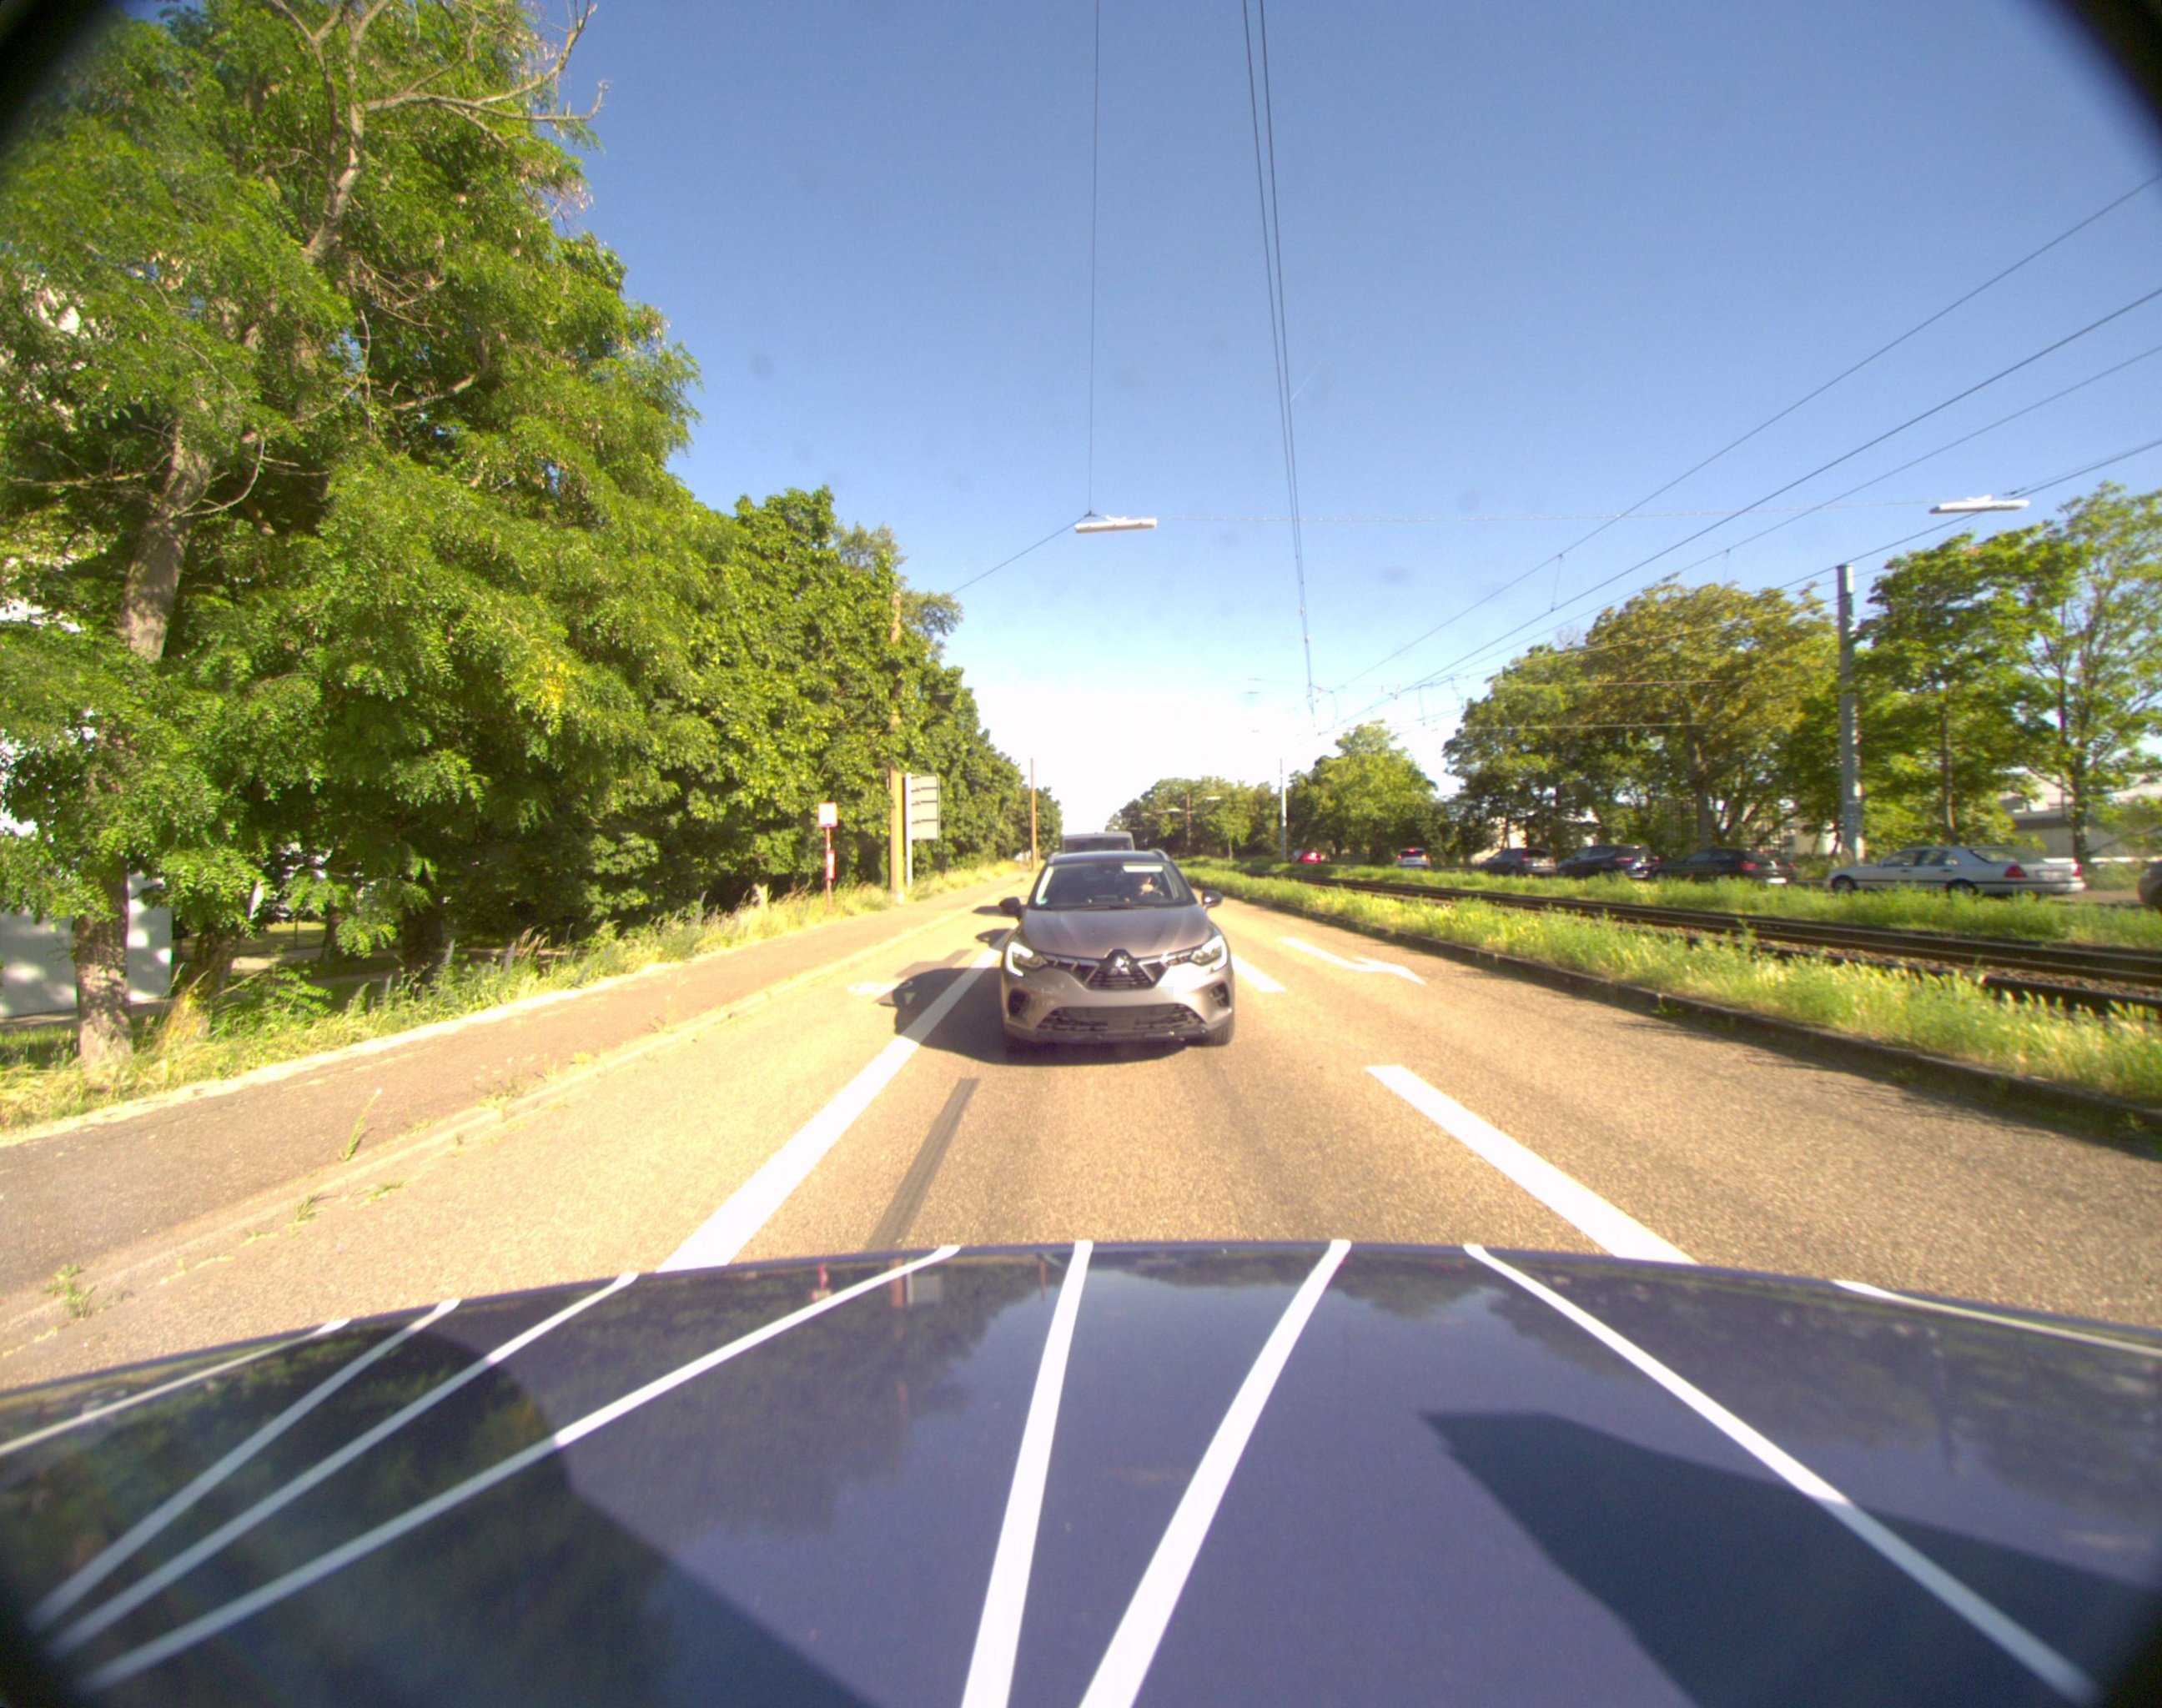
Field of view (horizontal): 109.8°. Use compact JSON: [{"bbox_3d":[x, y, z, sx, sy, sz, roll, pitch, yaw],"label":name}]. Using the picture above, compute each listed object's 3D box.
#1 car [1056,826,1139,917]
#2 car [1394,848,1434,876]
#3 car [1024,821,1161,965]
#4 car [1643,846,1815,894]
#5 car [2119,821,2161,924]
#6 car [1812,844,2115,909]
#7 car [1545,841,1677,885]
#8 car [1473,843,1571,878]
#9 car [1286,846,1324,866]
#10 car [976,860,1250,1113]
[{"bbox_3d":[0.353,0.471,20.998,1.999,2.198,4.786,-1,-1,-1],"label":"car"},{"bbox_3d":[19.662,0.432,44.796,1.856,1.548,4.164,-2,0,27],"label":"car"},{"bbox_3d":[0.196,0.593,13.415,1.998,2.113,4.000,-2,0,1],"label":"car"},{"bbox_3d":[21.340,0.488,25.326,1.960,1.417,4.488,-2,0,1],"label":"car"},{"bbox_3d":[21.226,0.301,12.395,2.207,1.923,4.685,-2,0,2],"label":"car"},{"bbox_3d":[21.541,0.505,18.932,2.130,1.372,4.616,-2,0,-1],"label":"car"},{"bbox_3d":[21.302,0.340,30.823,2.130,1.578,4.616,-2,0,1],"label":"car"},{"bbox_3d":[21.561,0.322,37.405,2.130,1.554,4.560,-2,0,0],"label":"car"},{"bbox_3d":[20.997,0.173,71.464,2.321,1.723,4.798,-2,0,3],"label":"car"},{"bbox_3d":[0.176,0.896,7.316,1.796,1.583,4.529,-1,0,-1],"label":"car"}]
